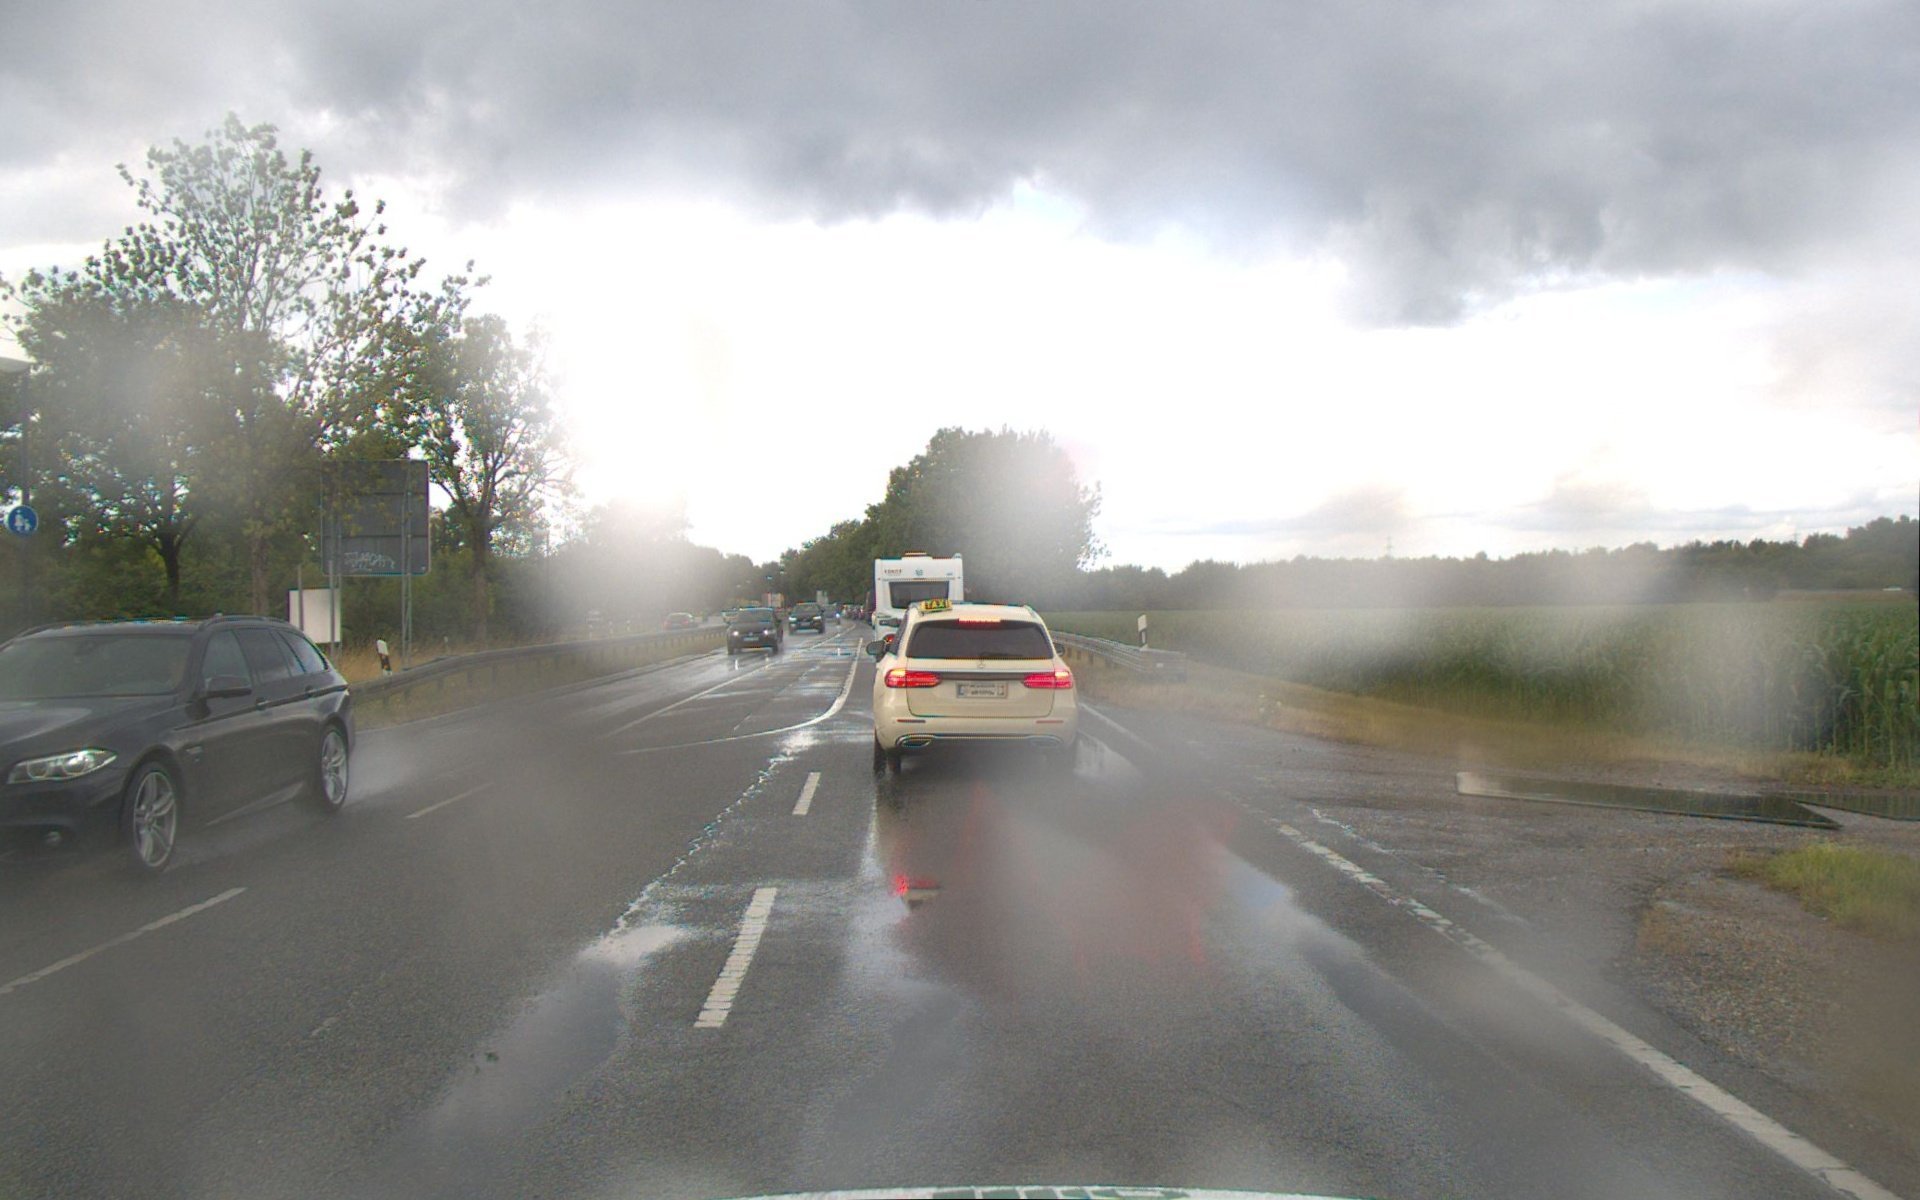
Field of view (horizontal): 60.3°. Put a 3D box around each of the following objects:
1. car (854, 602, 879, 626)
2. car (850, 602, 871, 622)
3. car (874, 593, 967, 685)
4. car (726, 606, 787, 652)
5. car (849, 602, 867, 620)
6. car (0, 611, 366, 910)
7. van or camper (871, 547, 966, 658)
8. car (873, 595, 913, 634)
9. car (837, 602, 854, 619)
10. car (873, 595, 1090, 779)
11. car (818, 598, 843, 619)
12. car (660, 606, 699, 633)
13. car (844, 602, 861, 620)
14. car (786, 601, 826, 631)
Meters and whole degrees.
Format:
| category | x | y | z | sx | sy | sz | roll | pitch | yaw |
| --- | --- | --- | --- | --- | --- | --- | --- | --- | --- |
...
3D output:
| category | x | y | z | sx | sy | sz | roll | pitch | yaw |
| --- | --- | --- | --- | --- | --- | --- | --- | --- | --- |
| car | -8.162 | 1.226 | 144.549 | 1.955 | 2.049 | 3.994 | -1 | 0 | -6 |
| car | -10.363 | 1.235 | 172.488 | 1.955 | 2.049 | 3.994 | -1 | 0 | -7 |
| car | -0.763 | 0.673 | 30.702 | 1.595 | 1.556 | 3.930 | -1 | 0 | -2 |
| car | -6.906 | 0.961 | 56.393 | 1.677 | 1.430 | 3.812 | -2 | 0 | -2 |
| car | -11.551 | 1.249 | 187.192 | 1.954 | 2.049 | 3.997 | -1 | 0 | -4 |
| car | -5.372 | 0.840 | 10.495 | 1.730 | 1.463 | 4.411 | -2 | 0 | -2 |
| van or camper | -1.145 | 0.043 | 44.067 | 2.303 | 2.727 | 5.765 | -1 | 0 | -2 |
| car | -4.112 | 0.859 | 100.695 | 2.202 | 2.237 | 5.407 | -1 | 0 | -4 |
| car | -13.949 | 1.297 | 201.717 | 1.954 | 2.049 | 3.996 | -1 | 0 | -5 |
| car | 0.136 | 0.722 | 15.733 | 1.788 | 1.511 | 4.144 | 0 | 0 | -1 |
| car | -10.460 | 0.671 | 133.684 | 1.733 | 1.550 | 4.140 | -3 | 0 | -2 |
| car | -19.078 | 1.311 | 112.568 | 1.953 | 1.680 | 3.999 | -2 | 0 | -1 |
| car | -12.648 | 1.240 | 193.807 | 1.954 | 2.087 | 3.996 | -1 | 0 | -4 |
| car | -8.496 | 0.864 | 91.780 | 1.904 | 1.608 | 4.442 | -1 | 0 | -2 |
